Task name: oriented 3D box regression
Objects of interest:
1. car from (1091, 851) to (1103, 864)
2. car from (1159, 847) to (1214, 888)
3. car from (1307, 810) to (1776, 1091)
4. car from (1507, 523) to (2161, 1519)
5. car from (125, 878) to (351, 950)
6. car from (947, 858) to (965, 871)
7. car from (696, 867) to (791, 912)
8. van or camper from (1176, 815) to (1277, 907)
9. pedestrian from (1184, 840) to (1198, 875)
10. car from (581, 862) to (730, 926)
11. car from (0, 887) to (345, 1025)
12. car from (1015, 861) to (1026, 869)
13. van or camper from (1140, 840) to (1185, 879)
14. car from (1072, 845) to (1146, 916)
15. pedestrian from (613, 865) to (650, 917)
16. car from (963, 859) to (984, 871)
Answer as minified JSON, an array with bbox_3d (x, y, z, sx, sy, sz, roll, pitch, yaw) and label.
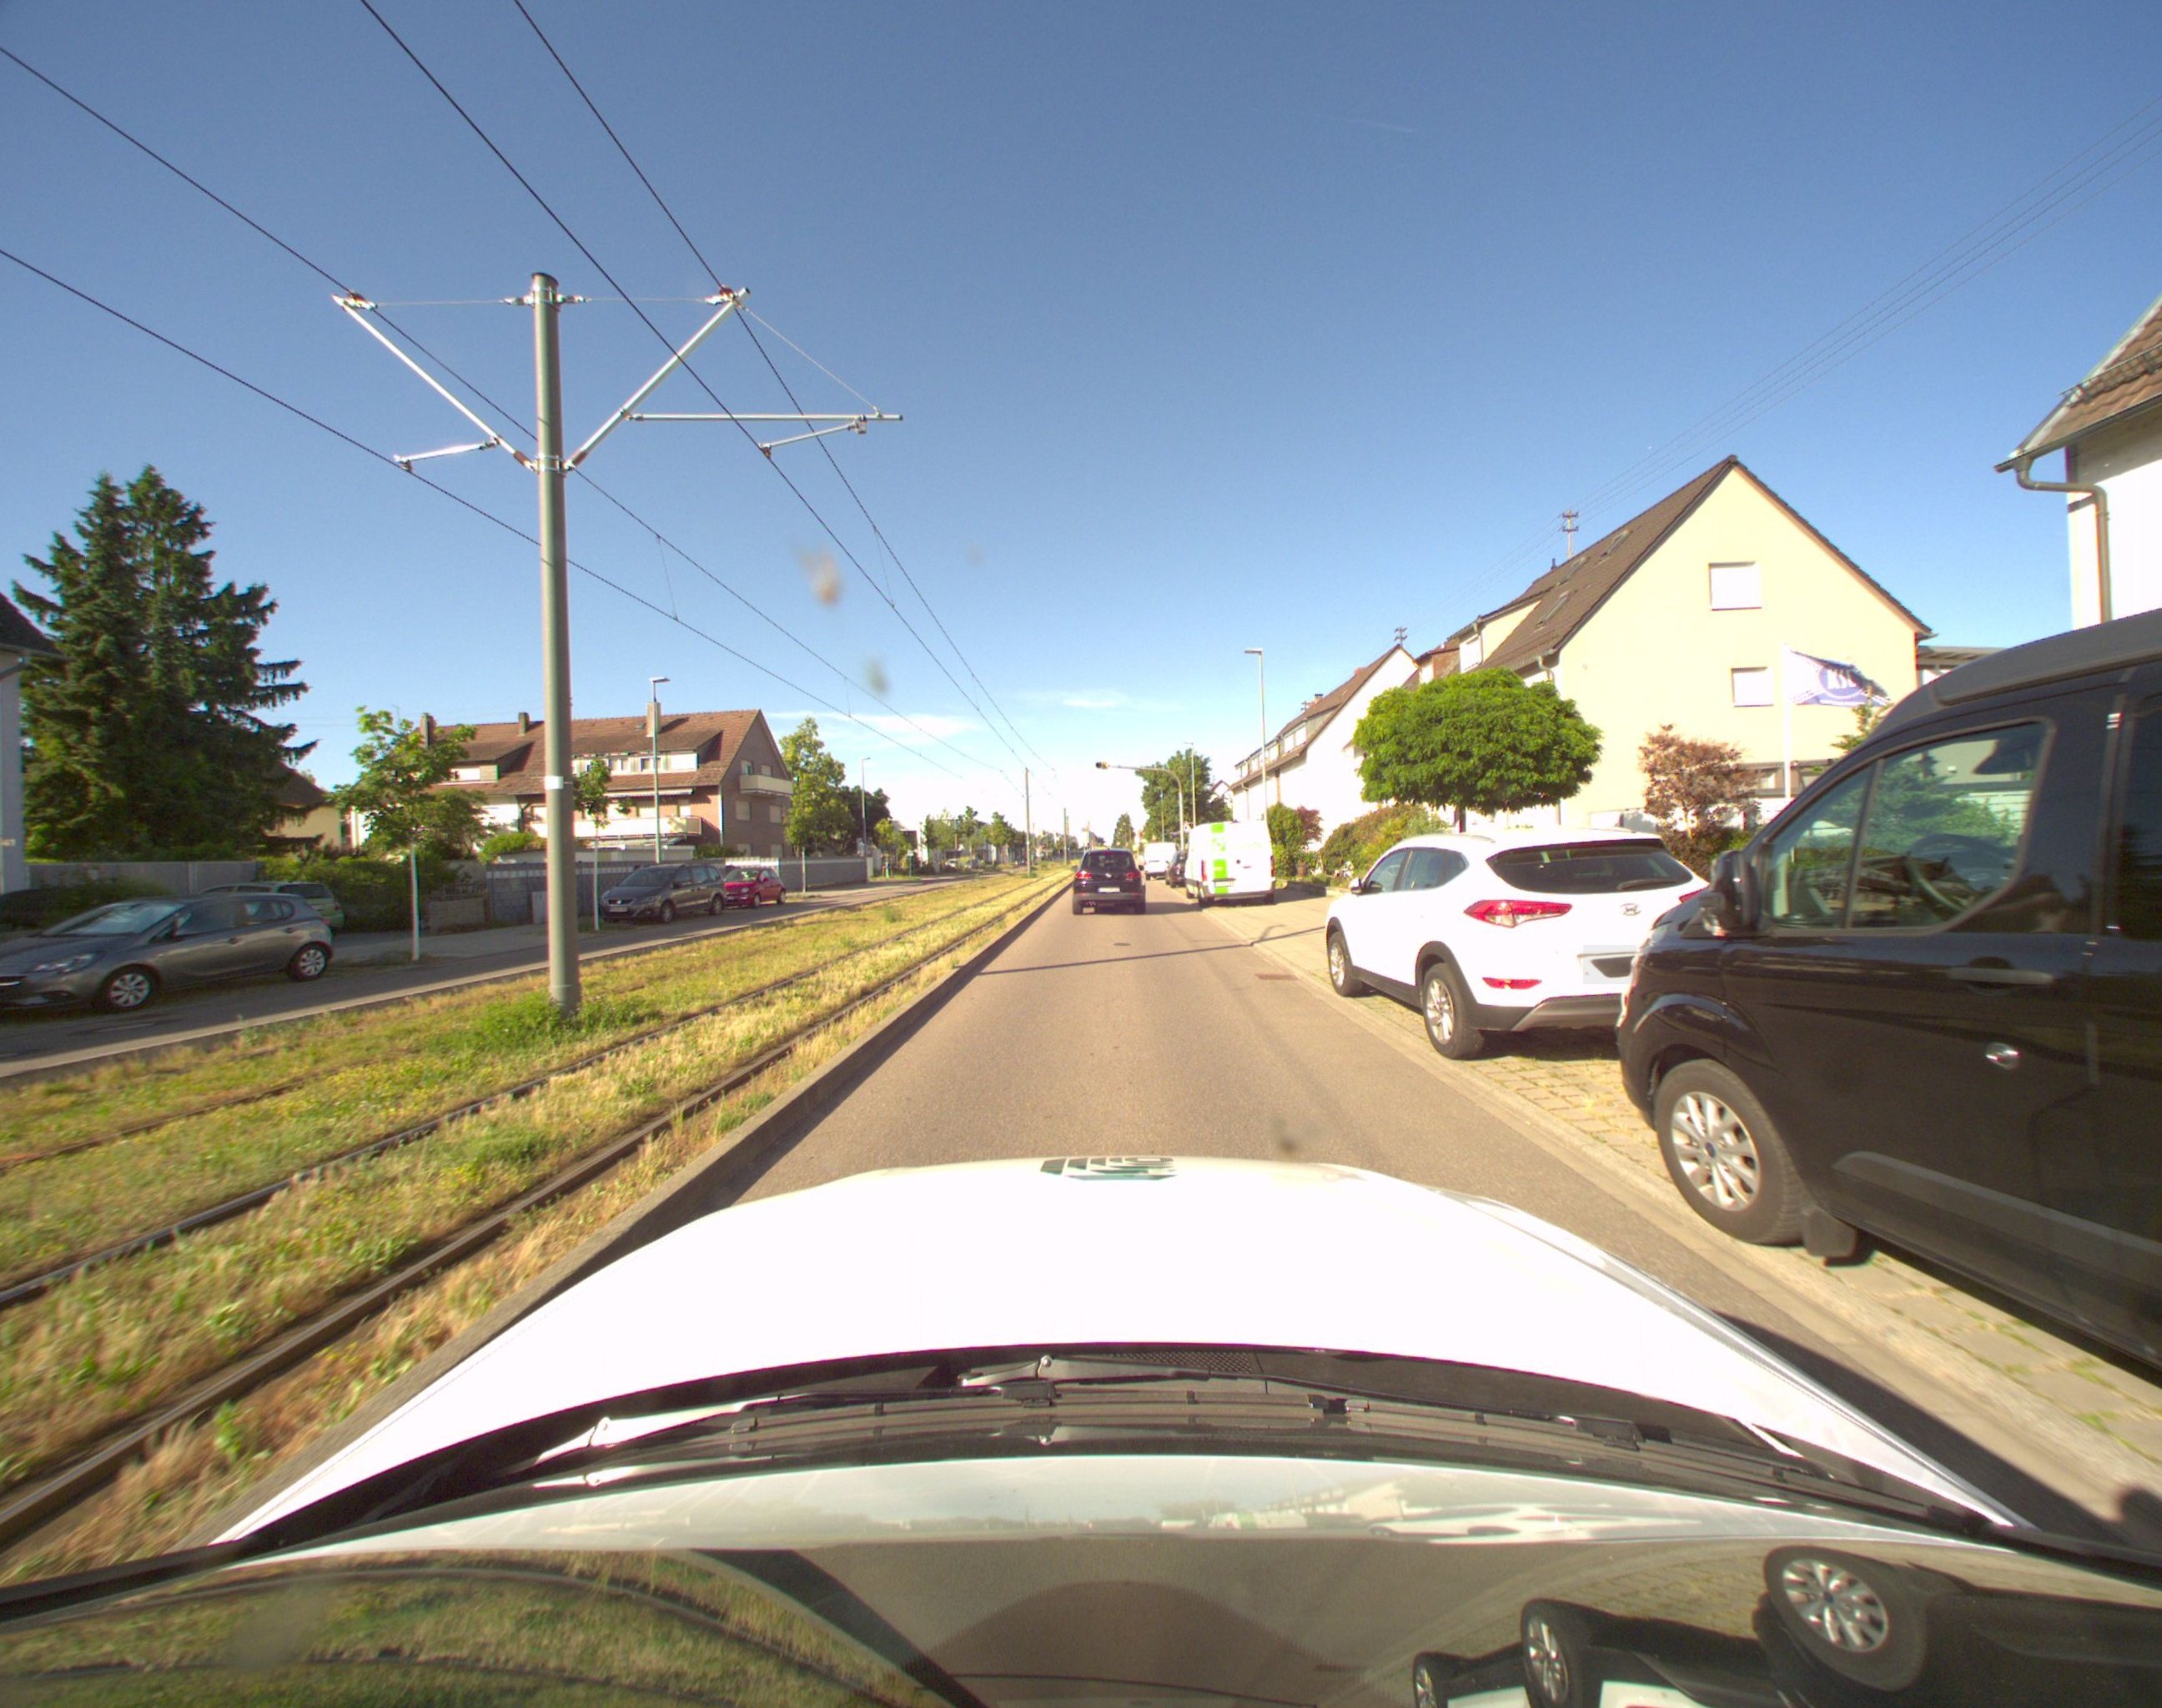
[{"bbox_3d":[3.248,0.736,164.233,2.385,2.564,5.533,-2,0,2],"label":"car"},{"bbox_3d":[4.409,0.549,34.646,1.742,1.494,5.157,-4,0,2],"label":"car"},{"bbox_3d":[3.444,0.600,7.198,1.719,1.645,4.320,-3,0,2],"label":"car"},{"bbox_3d":[3.278,0.329,1.751,1.952,2.144,5.337,-3,0,2],"label":"car"},{"bbox_3d":[-19.843,1.385,19.270,3.597,1.473,1.706,-2,0,3],"label":"car"},{"bbox_3d":[-15.019,1.272,97.819,1.539,1.491,3.775,-1,0,1],"label":"car"},{"bbox_3d":[-12.604,1.283,30.734,1.688,1.405,4.081,-2,0,2],"label":"car"},{"bbox_3d":[4.142,0.193,24.305,1.986,2.271,6.307,-4,0,2],"label":"van or camper"},{"bbox_3d":[6.138,0.182,45.548,0.694,1.912,0.761,-1,-1,10],"label":"pedestrian"},{"bbox_3d":[-12.725,1.119,24.763,1.812,1.684,4.849,0,0,2],"label":"car"},{"bbox_3d":[-13.345,1.313,11.818,1.671,1.491,4.049,0,0,-1],"label":"car"},{"bbox_3d":[-12.086,2.246,163.073,1.681,1.389,4.392,-4,0,3],"label":"car"},{"bbox_3d":[4.581,0.277,45.122,2.015,1.956,5.309,-2,0,10],"label":"van or camper"},{"bbox_3d":[0.668,0.647,21.593,1.770,1.670,3.999,-1,0,0],"label":"car"},{"bbox_3d":[-14.774,1.201,26.792,0.693,1.640,0.919,-1,-1,0],"label":"pedestrian"},{"bbox_3d":[-14.603,1.473,110.685,1.801,1.461,4.325,-1,0,6],"label":"car"}]
